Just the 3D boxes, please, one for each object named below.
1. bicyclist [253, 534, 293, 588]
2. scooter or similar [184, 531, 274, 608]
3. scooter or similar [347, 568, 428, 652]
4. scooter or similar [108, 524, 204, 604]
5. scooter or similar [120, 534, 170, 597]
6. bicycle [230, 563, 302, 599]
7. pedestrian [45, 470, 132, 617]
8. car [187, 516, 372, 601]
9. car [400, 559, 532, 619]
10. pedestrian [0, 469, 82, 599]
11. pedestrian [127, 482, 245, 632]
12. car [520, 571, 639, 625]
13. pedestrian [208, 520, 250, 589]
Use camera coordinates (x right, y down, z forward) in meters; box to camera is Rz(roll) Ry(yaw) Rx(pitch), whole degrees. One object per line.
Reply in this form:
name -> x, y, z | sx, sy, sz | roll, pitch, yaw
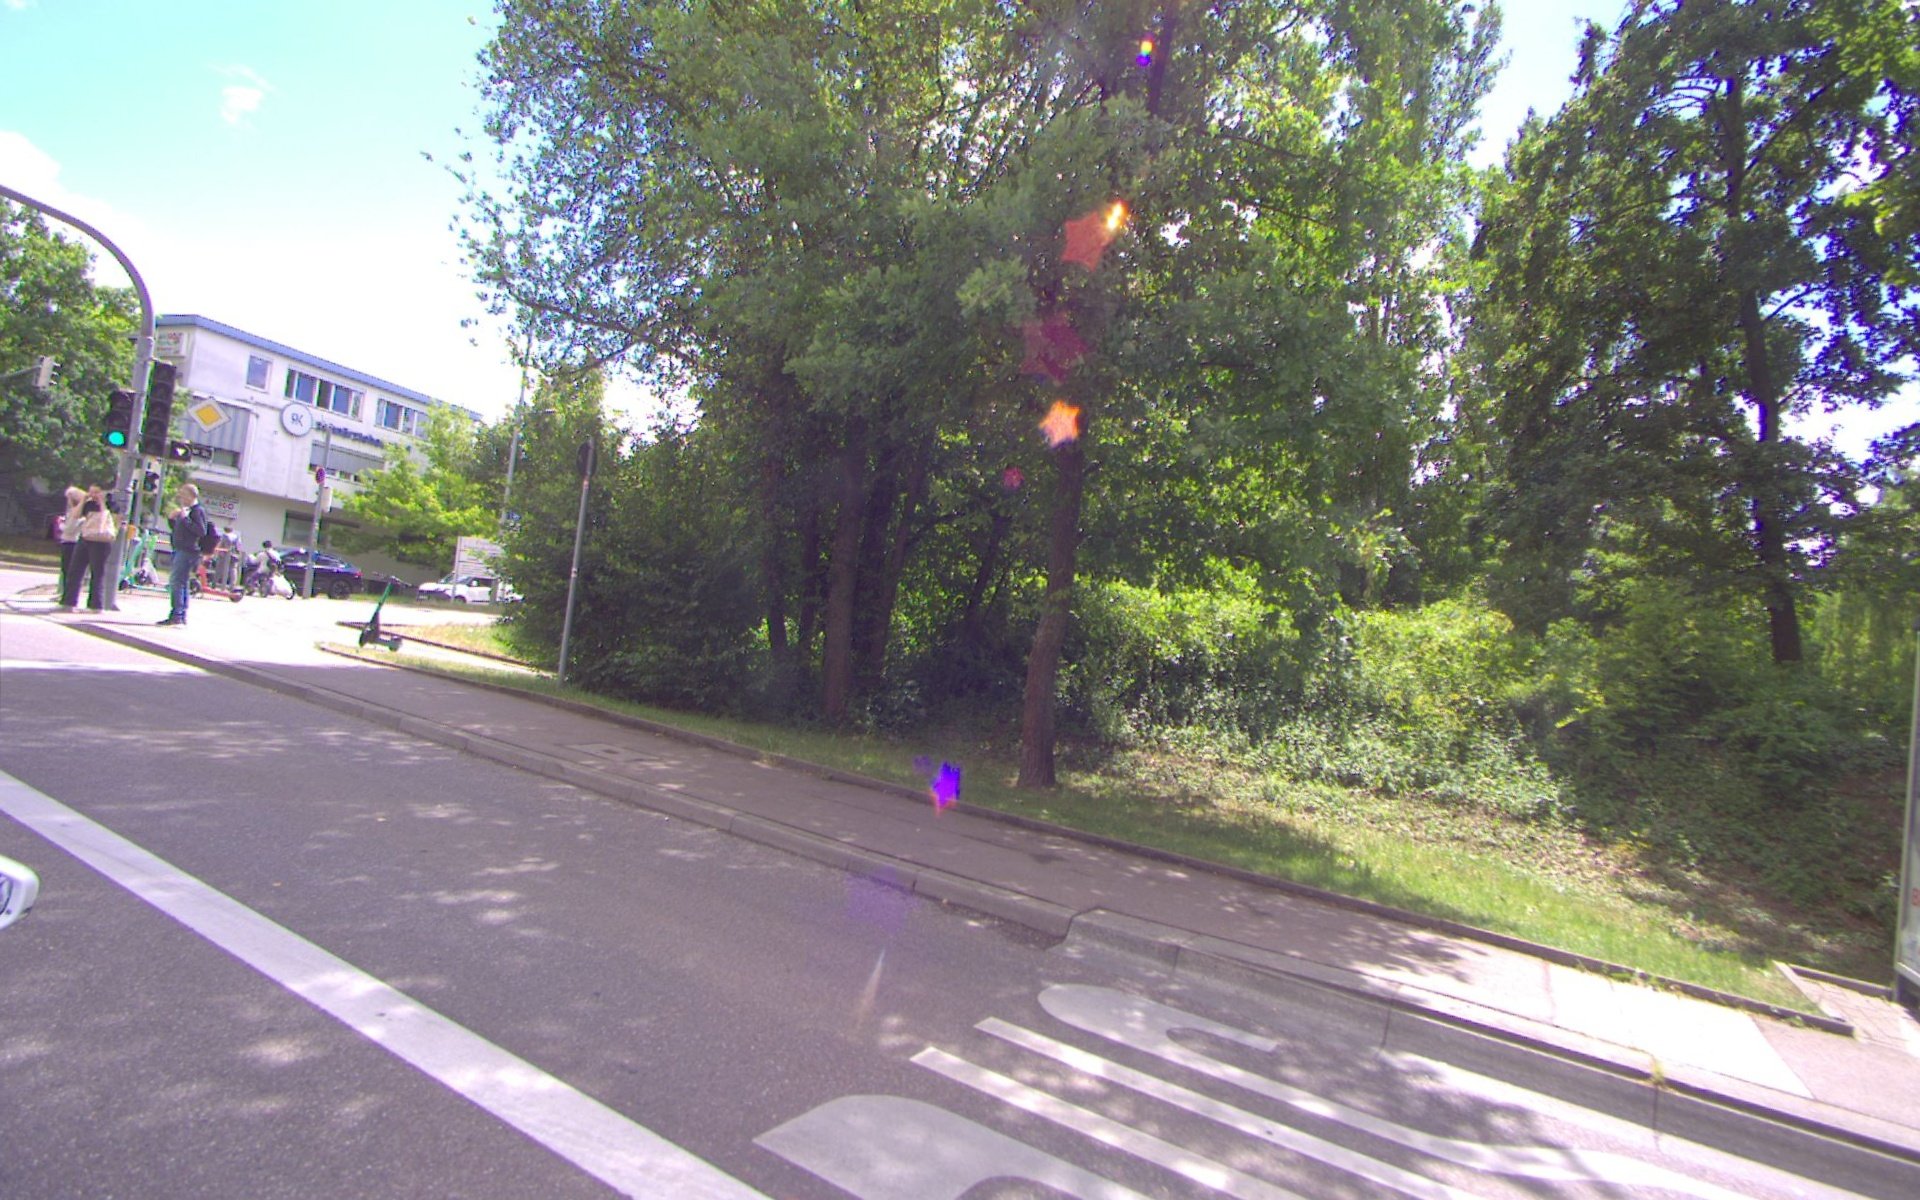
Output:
bicyclist -> -15.941, -0.903, 23.344 | 0.392, 1.170, 0.503 | 7, -1, 19
scooter or similar -> -14.211, -0.585, 19.581 | 0.546, 1.286, 1.153 | 7, -2, 34
scooter or similar -> -9.775, 0.182, 17.205 | 0.447, 1.242, 0.893 | 7, -6, 32
scooter or similar -> -14.305, -0.629, 17.911 | 0.531, 1.249, 1.111 | 7, -1, 34
scooter or similar -> -15.719, -0.675, 19.401 | 0.546, 1.076, 1.246 | 8, -1, -44
bicycle -> -16.152, -0.433, 23.398 | 1.561, 0.617, 0.535 | 7, -1, 21
pedestrian -> -11.948, -0.771, 13.793 | 0.510, 1.898, 0.636 | 7, -1, 38
car -> -22.538, -1.319, 33.539 | 1.964, 2.036, 4.551 | 7, -2, 25
car -> -19.845, -0.400, 40.615 | 1.964, 1.784, 4.388 | 7, -2, 23
pedestrian -> -13.457, -0.958, 14.735 | 0.510, 1.787, 0.636 | 7, -1, 38
pedestrian -> -10.673, -0.590, 13.878 | 0.996, 1.898, 0.797 | 7, -1, 31
car -> -17.371, -0.037, 46.191 | 1.964, 1.820, 4.979 | 7, -2, 25
pedestrian -> -19.372, -1.202, 26.674 | 0.653, 1.732, 0.458 | 8, -1, -32
